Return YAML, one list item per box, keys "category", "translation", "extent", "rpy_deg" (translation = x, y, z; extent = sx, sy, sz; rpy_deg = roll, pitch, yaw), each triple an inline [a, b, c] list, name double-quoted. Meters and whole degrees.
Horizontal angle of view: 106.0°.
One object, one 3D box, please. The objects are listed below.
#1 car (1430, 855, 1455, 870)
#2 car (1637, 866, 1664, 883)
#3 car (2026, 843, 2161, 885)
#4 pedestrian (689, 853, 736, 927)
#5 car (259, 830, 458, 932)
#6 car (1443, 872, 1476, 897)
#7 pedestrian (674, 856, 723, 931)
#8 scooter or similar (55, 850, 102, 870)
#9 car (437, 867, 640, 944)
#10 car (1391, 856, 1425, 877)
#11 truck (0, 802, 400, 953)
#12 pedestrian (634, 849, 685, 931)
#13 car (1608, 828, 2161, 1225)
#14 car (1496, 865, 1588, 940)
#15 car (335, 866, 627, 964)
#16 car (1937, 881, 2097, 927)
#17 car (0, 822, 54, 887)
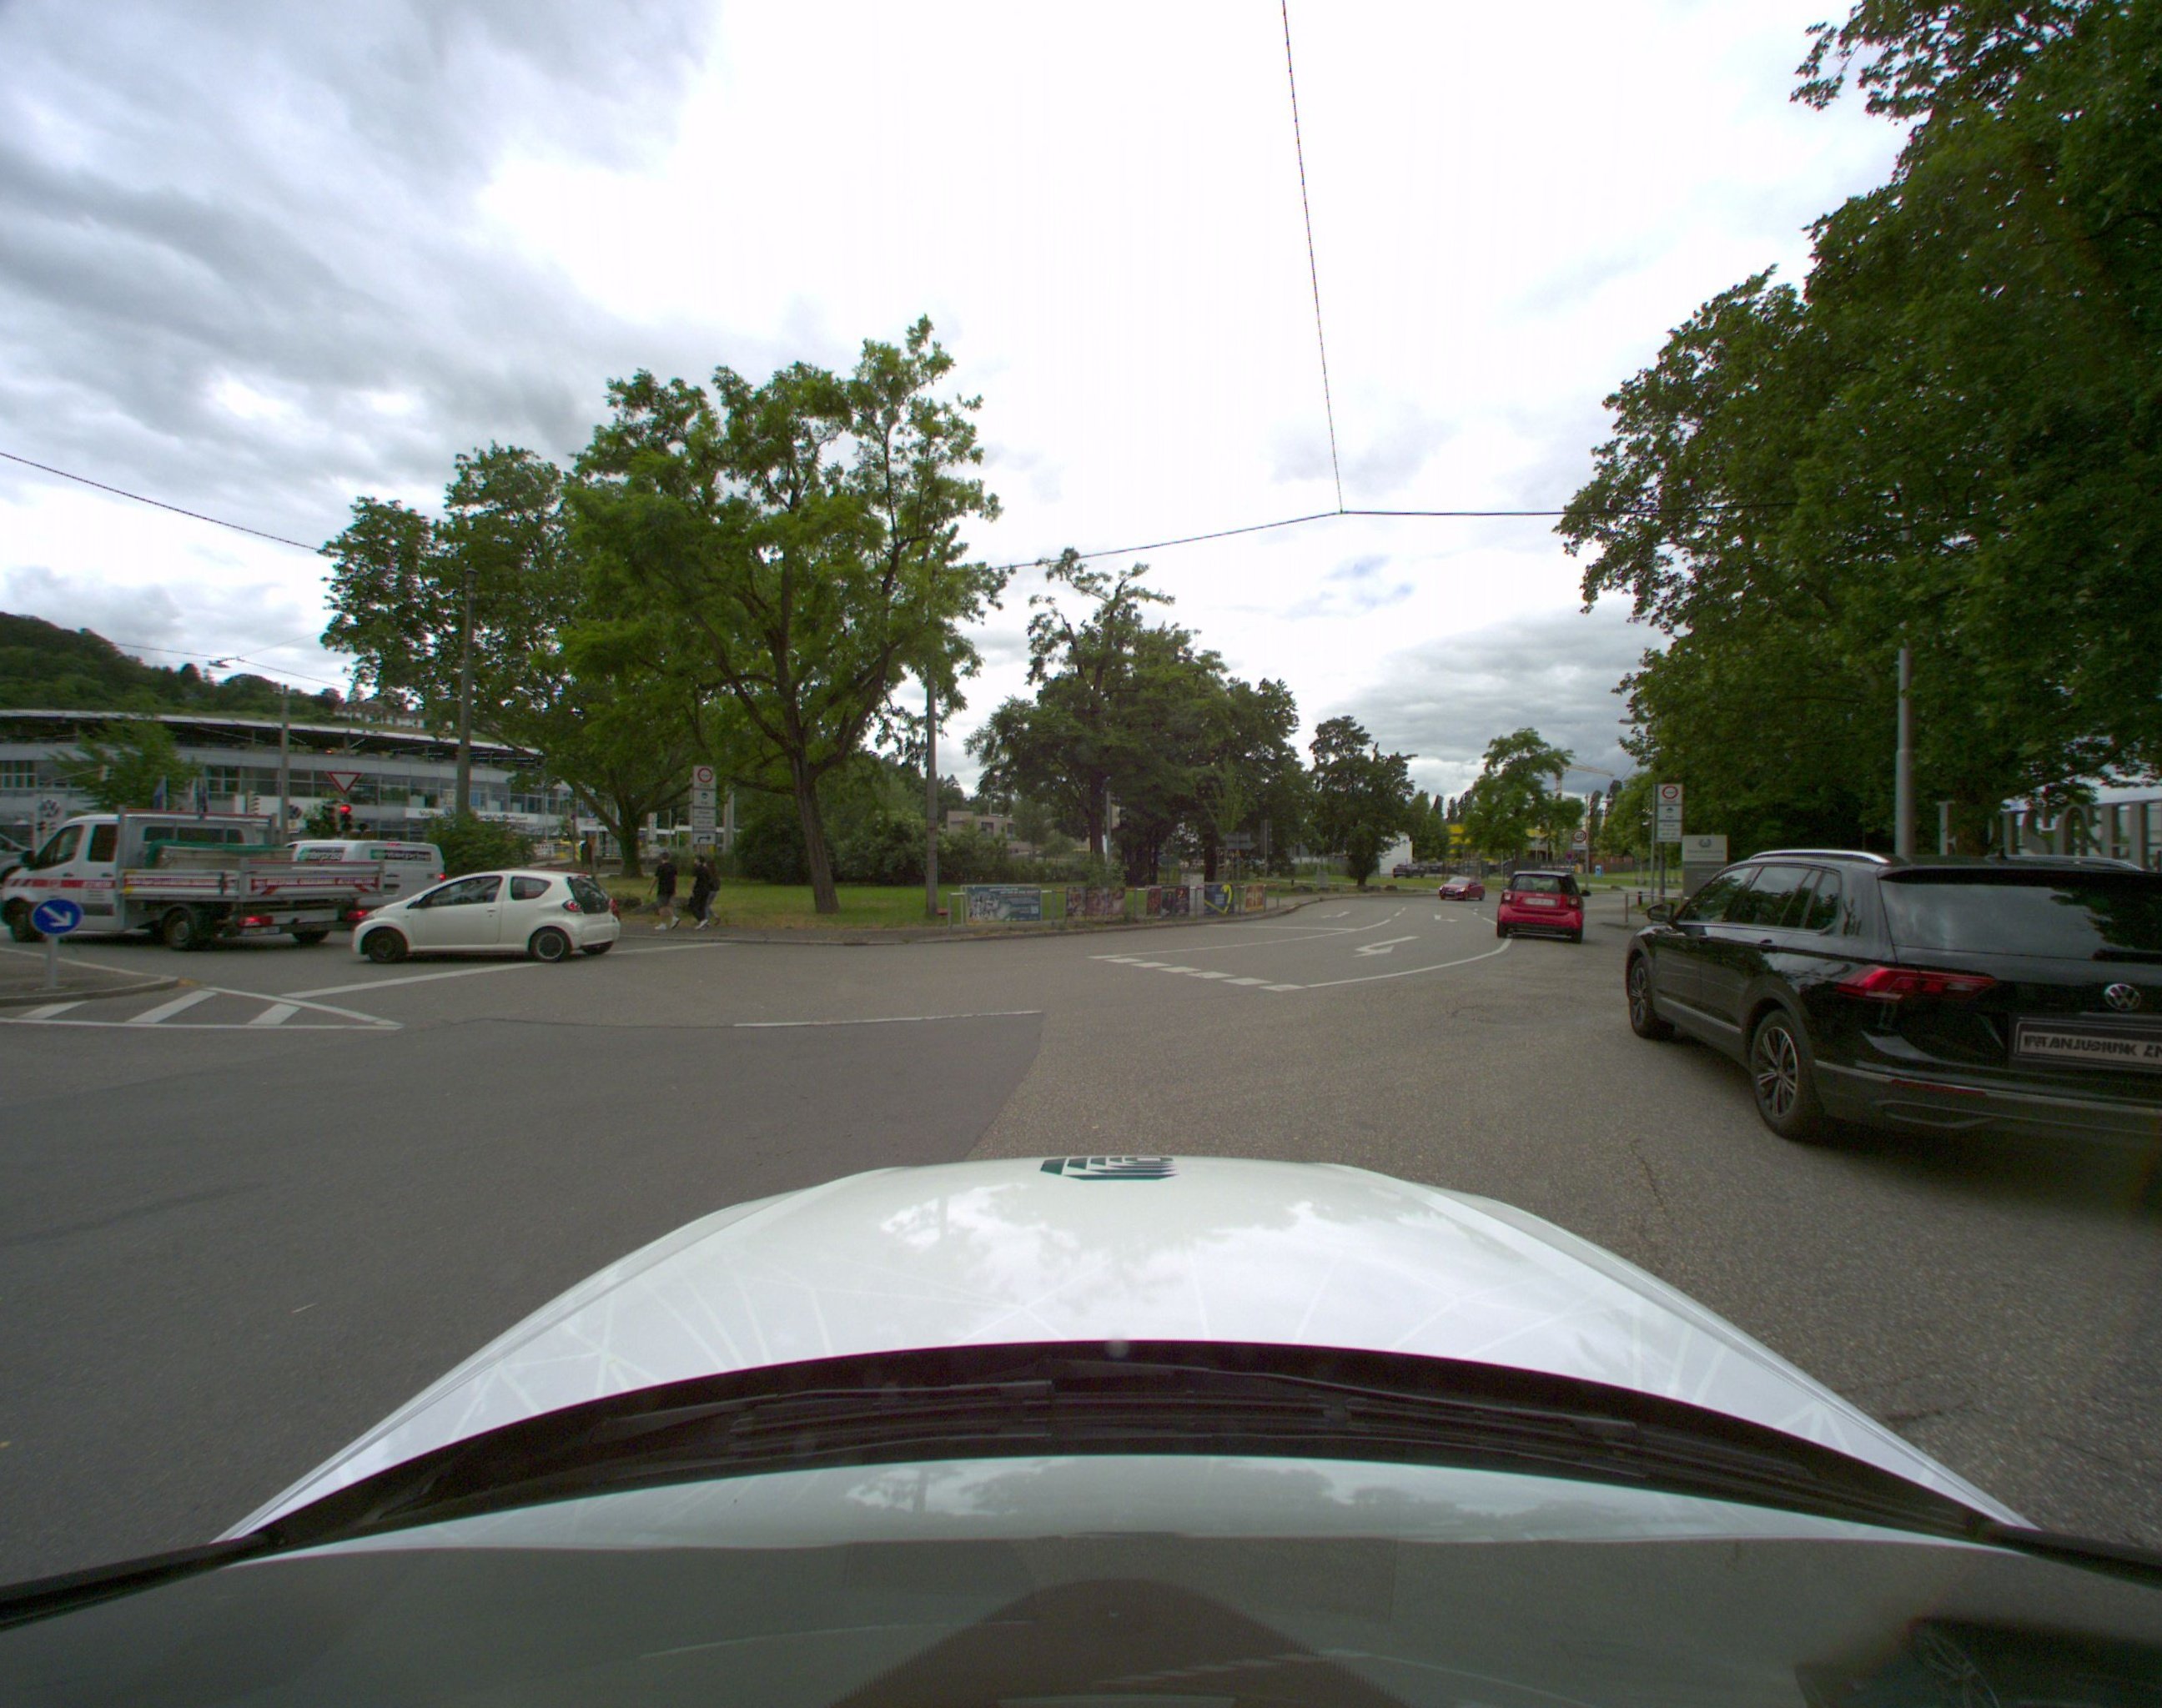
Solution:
- category: "car"
  translation: [48.720, 1.122, 109.804]
  extent: [1.945, 2.013, 4.245]
  rpy_deg: [1, 0, 40]
- category: "car"
  translation: [56.311, 2.022, 80.464]
  extent: [2.021, 1.536, 3.967]
  rpy_deg: [0, 0, 37]
- category: "car"
  translation: [51.026, 0.472, 40.575]
  extent: [4.765, 2.013, 2.011]
  rpy_deg: [1, 0, 24]
- category: "pedestrian"
  translation: [-8.943, 0.858, 19.779]
  extent: [0.781, 1.740, 0.697]
  rpy_deg: [0, 0, 7]
- category: "car"
  translation: [-16.634, 0.536, 18.711]
  extent: [4.700, 2.107, 2.008]
  rpy_deg: [0, 0, 30]
- category: "car"
  translation: [24.182, 1.913, 51.961]
  extent: [1.711, 1.466, 3.857]
  rpy_deg: [-1, -1, 28]
- category: "pedestrian"
  translation: [-8.941, 0.905, 19.063]
  extent: [0.781, 1.714, 0.697]
  rpy_deg: [0, 0, 7]
- category: "scooter or similar"
  translation: [-58.791, 0.339, 47.756]
  extent: [0.461, 1.178, 1.684]
  rpy_deg: [0, 0, 33]
- category: "car"
  translation: [-11.270, 1.023, 16.990]
  extent: [3.394, 1.457, 1.650]
  rpy_deg: [0, -1, 15]
- category: "car"
  translation: [33.123, 1.259, 82.494]
  extent: [1.945, 2.013, 4.245]
  rpy_deg: [1, 0, 40]
- category: "truck"
  translation: [-16.034, 0.356, 14.790]
  extent: [5.968, 2.397, 2.438]
  rpy_deg: [0, 0, 12]
- category: "pedestrian"
  translation: [-9.727, 0.812, 18.798]
  extent: [0.781, 1.857, 0.697]
  rpy_deg: [0, 0, 7]
- category: "car"
  translation: [5.097, 0.717, 5.416]
  extent: [1.828, 1.635, 4.207]
  rpy_deg: [2, 1, 21]
- category: "car"
  translation: [10.518, 1.022, 18.513]
  extent: [1.695, 1.464, 3.039]
  rpy_deg: [0, 0, 32]
- category: "car"
  translation: [-9.549, 0.937, 13.203]
  extent: [3.415, 1.432, 1.641]
  rpy_deg: [0, 0, -6]
- category: "car"
  translation: [34.916, 1.831, 30.491]
  extent: [3.686, 1.505, 1.489]
  rpy_deg: [0, 0, 21]
- category: "car"
  translation: [-34.575, -0.001, 23.807]
  extent: [1.955, 2.013, 5.314]
  rpy_deg: [1, 0, 9]
